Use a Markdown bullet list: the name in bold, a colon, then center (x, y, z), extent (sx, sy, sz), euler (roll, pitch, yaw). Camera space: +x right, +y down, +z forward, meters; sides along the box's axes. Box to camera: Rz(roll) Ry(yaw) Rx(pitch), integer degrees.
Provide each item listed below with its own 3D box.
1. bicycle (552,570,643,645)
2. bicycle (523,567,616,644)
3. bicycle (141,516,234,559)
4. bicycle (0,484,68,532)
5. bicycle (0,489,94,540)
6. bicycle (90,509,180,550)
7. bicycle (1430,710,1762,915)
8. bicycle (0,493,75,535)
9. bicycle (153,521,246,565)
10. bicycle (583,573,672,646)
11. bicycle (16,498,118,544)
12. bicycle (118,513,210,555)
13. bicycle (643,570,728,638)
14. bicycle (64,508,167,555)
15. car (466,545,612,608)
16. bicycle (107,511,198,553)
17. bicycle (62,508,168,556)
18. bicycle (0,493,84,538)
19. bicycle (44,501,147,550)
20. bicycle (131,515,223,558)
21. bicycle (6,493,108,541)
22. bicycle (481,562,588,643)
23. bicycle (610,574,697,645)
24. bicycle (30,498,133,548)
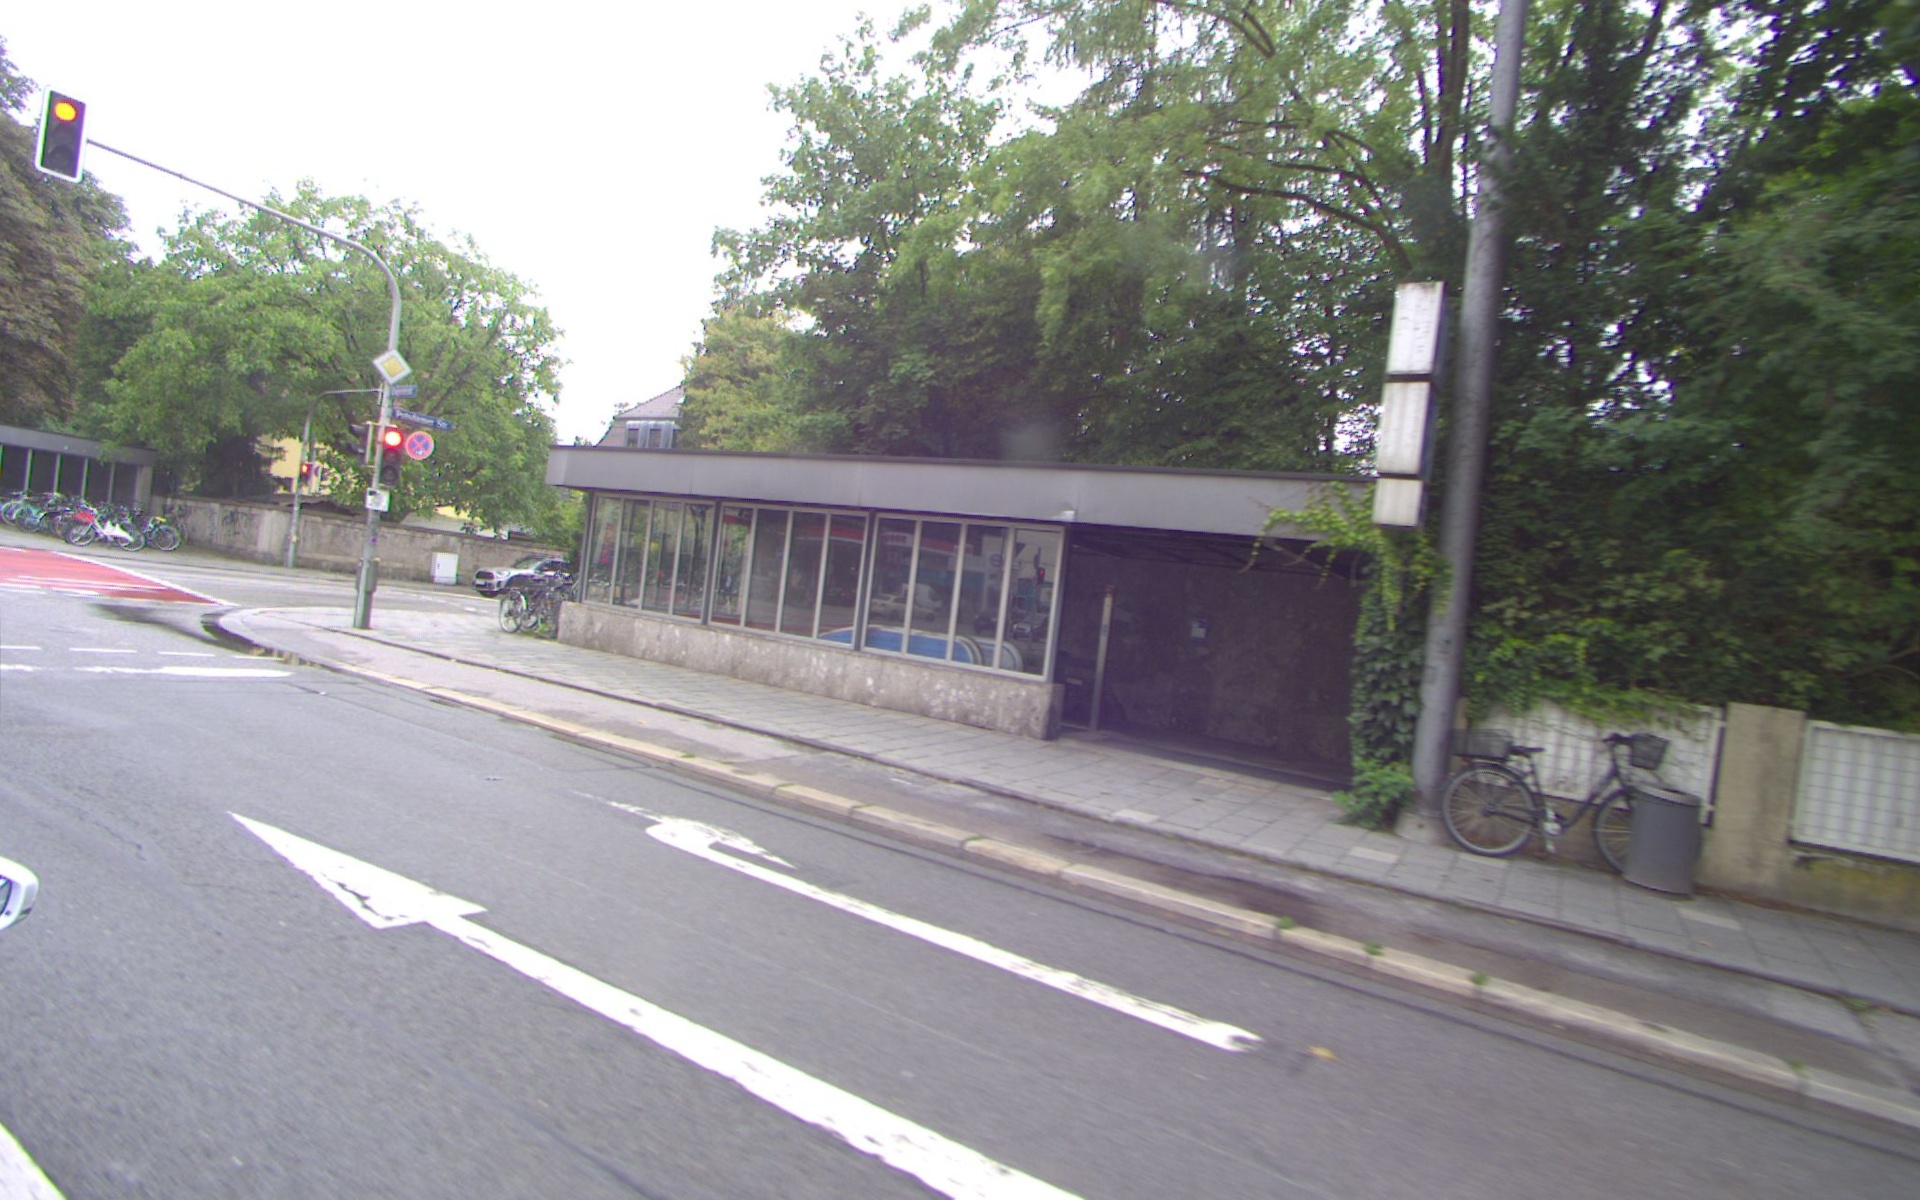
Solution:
- **bicycle**: center (-6.416, 0.124, 17.783), extent (1.707, 1.135, 0.469), euler (6, 0, 33)
- **bicycle**: center (-6.719, 0.091, 17.289), extent (1.707, 1.135, 0.469), euler (6, 0, 33)
- **bicycle**: center (-24.044, -1.932, 31.338), extent (0.625, 1.026, 2.141), euler (8, 0, 40)
- **bicycle**: center (-29.478, -2.927, 31.513), extent (0.594, 1.233, 2.141), euler (8, 0, 40)
- **bicycle**: center (-27.596, -2.574, 30.301), extent (0.594, 1.192, 2.141), euler (8, 0, 40)
- **bicycle**: center (-27.320, -2.321, 33.348), extent (0.625, 1.026, 2.141), euler (8, 0, 40)
- **bicycle**: center (4.849, 1.569, 7.816), extent (1.992, 1.104, 0.623), euler (7, 1, 32)
- **bicycle**: center (-28.908, -2.676, 31.136), extent (0.594, 1.026, 2.141), euler (8, 0, 40)
- **bicycle**: center (-23.372, -1.748, 30.962), extent (0.625, 1.026, 2.141), euler (8, 0, 40)
- **bicycle**: center (-6.070, 0.158, 18.327), extent (1.707, 1.135, 0.469), euler (6, 0, 33)
- **bicycle**: center (-26.308, -2.314, 29.674), extent (0.594, 1.026, 2.141), euler (8, 0, 40)
- **bicycle**: center (-25.371, -2.093, 32.097), extent (0.625, 1.026, 2.141), euler (8, 0, 40)
- **bicycle**: center (-5.326, 0.074, 19.477), extent (1.707, 1.135, 0.469), euler (6, 0, 33)
- **bicycle**: center (-24.270, -1.961, 28.943), extent (0.625, 1.026, 2.141), euler (8, 0, 40)
- **car**: center (-14.118, -0.761, 33.904), extent (1.669, 1.532, 4.169), euler (7, 0, 36)
- **bicycle**: center (-26.047, -2.177, 32.465), extent (0.625, 1.026, 2.141), euler (8, 0, 40)
- **bicycle**: center (-23.862, -1.901, 28.445), extent (0.594, 1.026, 2.141), euler (8, 0, 40)
- **bicycle**: center (-28.199, -2.575, 30.647), extent (0.594, 1.075, 2.141), euler (8, 0, 40)
- **bicycle**: center (-25.040, -2.143, 29.179), extent (0.594, 1.084, 2.141), euler (8, 0, 40)
- **bicycle**: center (-24.674, -2.005, 31.747), extent (0.625, 1.026, 2.141), euler (8, 0, 40)
- **bicycle**: center (-26.922, -2.463, 30.024), extent (0.594, 1.099, 2.141), euler (8, 0, 40)
- **bicycle**: center (-7.109, 0.037, 16.762), extent (1.859, 1.135, 0.600), euler (6, 0, 33)
- **bicycle**: center (-5.752, 0.162, 18.837), extent (1.707, 1.135, 0.469), euler (6, 0, 33)
- **bicycle**: center (-25.651, -2.236, 29.407), extent (0.594, 1.114, 2.141), euler (8, 0, 40)
